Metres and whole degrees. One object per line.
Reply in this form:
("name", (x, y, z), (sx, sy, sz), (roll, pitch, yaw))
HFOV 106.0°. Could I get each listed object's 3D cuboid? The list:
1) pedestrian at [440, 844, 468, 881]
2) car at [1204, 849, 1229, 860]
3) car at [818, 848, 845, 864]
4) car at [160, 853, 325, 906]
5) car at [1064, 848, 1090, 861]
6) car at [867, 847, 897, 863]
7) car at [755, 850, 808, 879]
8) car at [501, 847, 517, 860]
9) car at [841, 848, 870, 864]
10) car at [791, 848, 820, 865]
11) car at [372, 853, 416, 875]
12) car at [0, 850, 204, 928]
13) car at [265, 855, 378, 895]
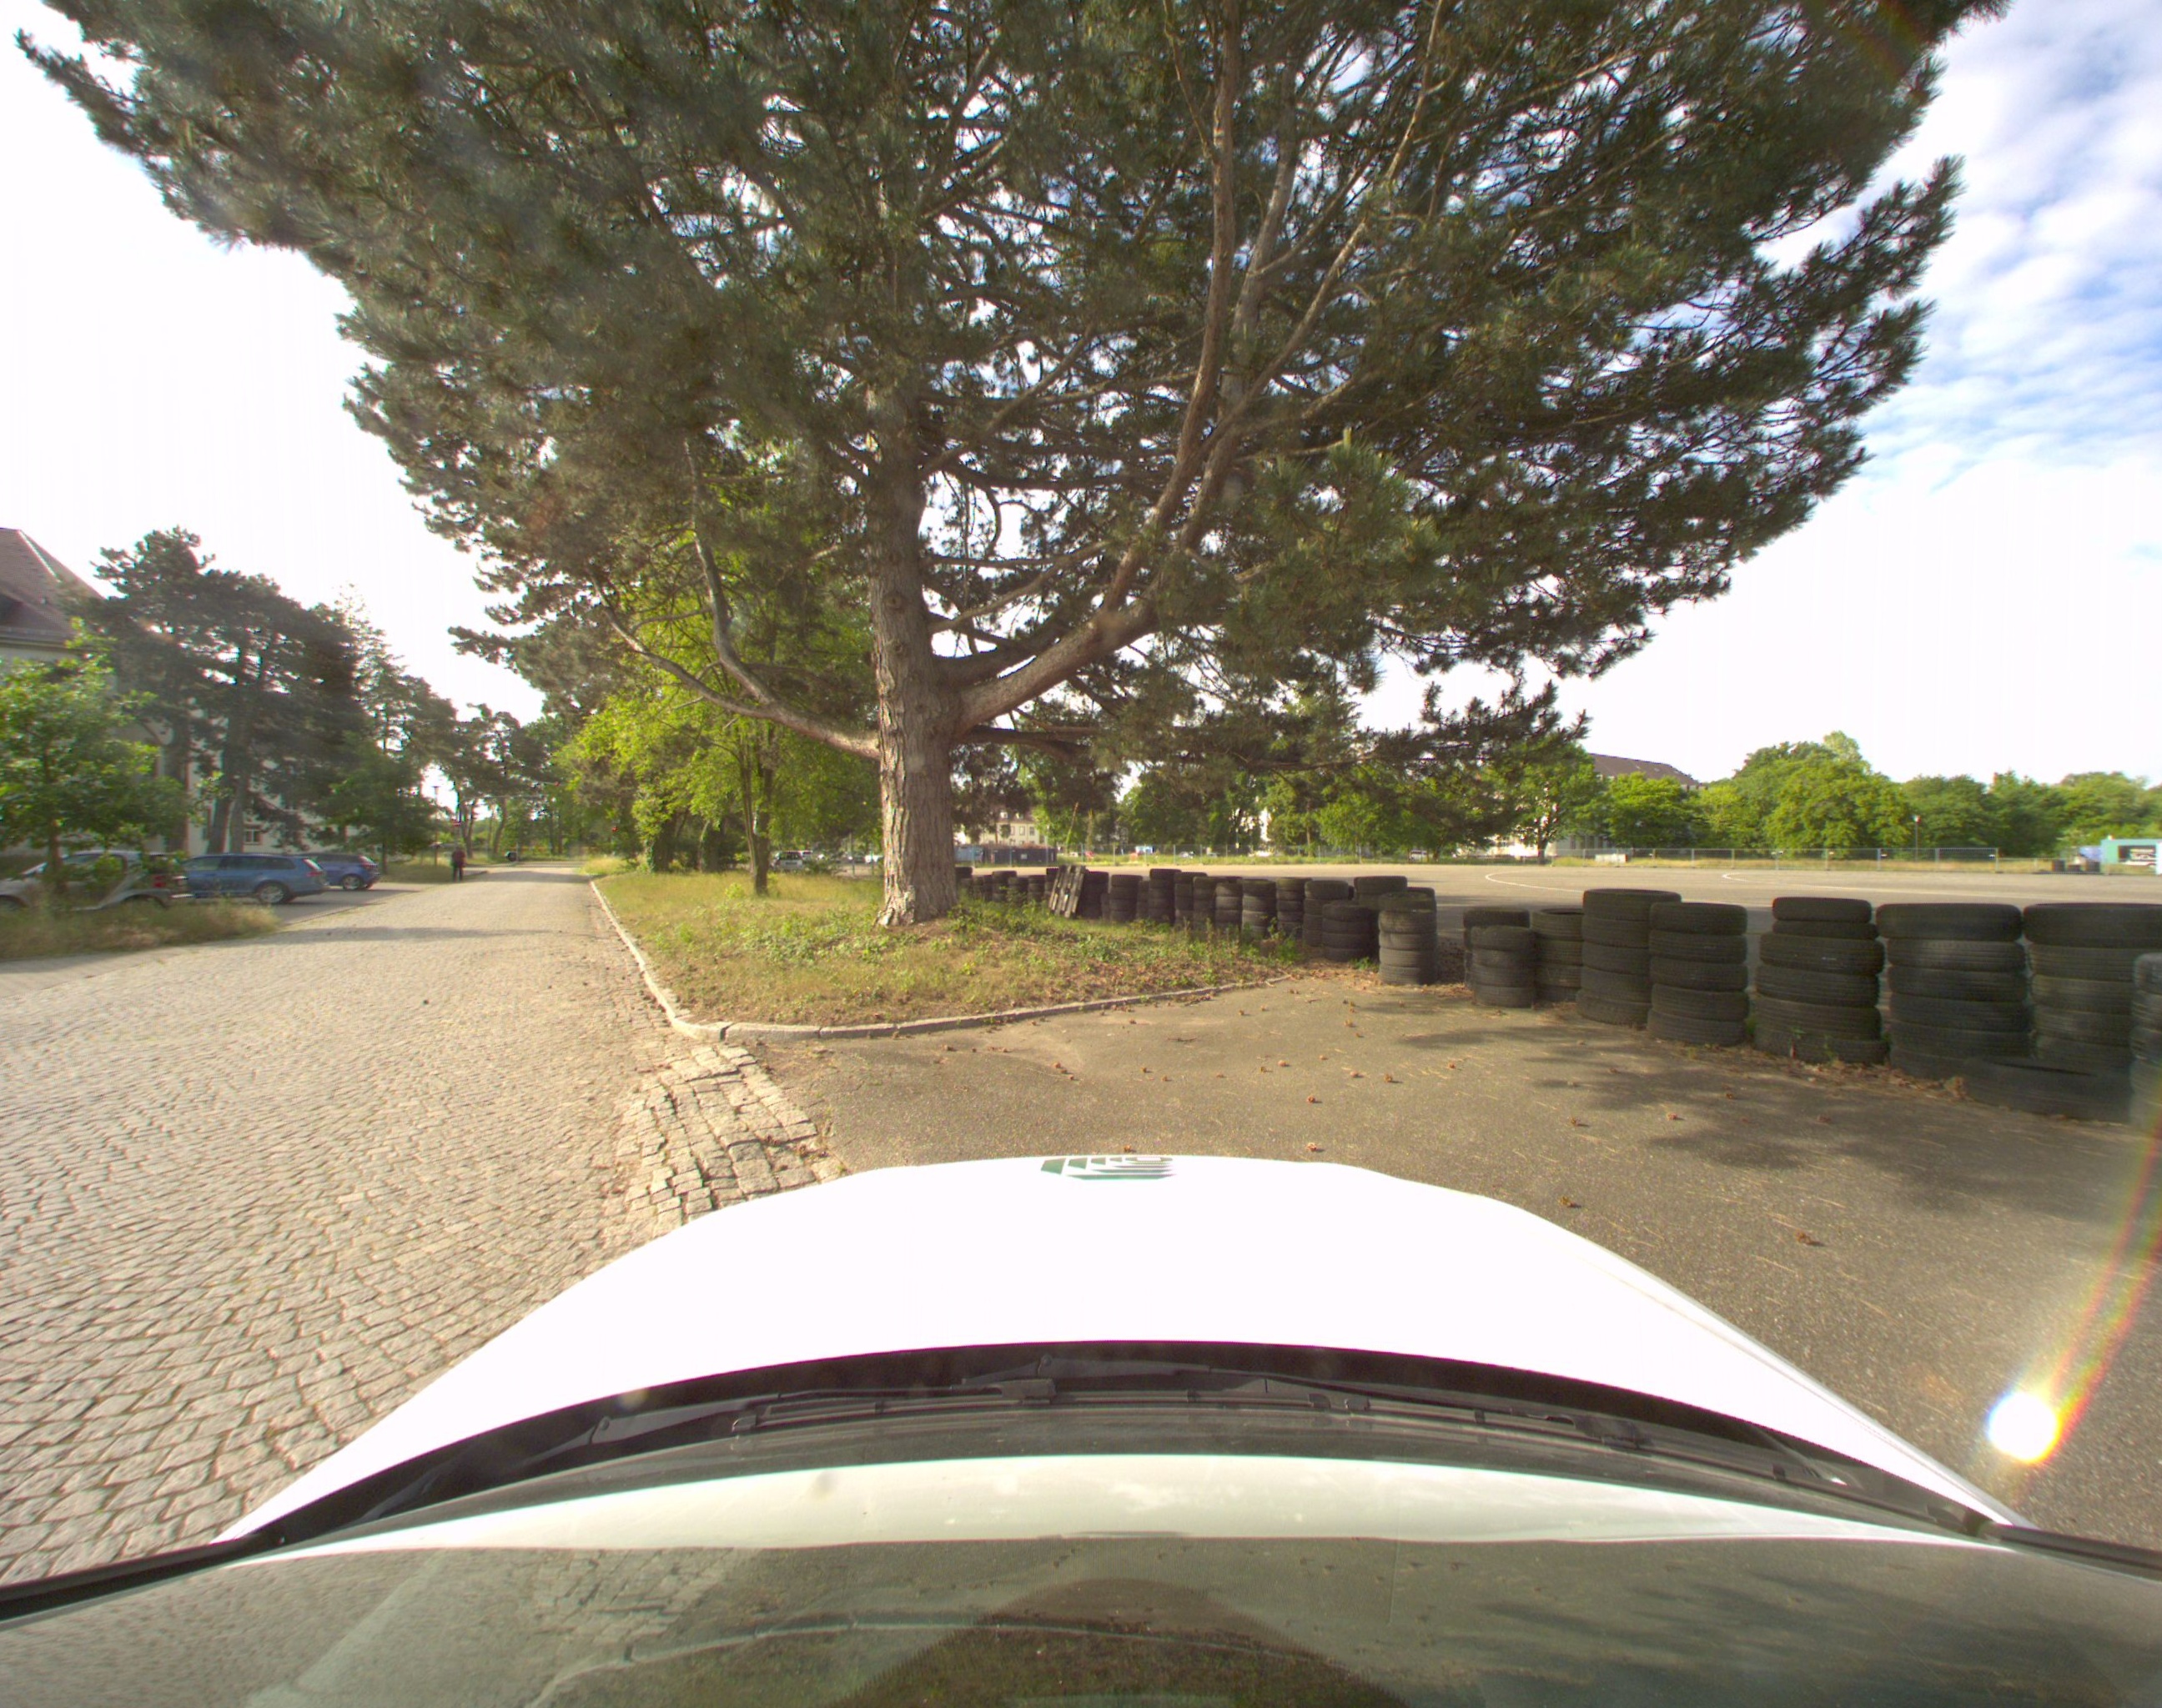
("pedestrian", (-31.784, 0.415, 41.290), (0.944, 1.844, 0.965), (0, 0, 44))
("car", (21.148, 0.095, 127.234), (2.002, 1.750, 3.970), (0, 0, -22))
("car", (-25.746, 0.197, 84.069), (1.832, 1.618, 3.962), (0, 0, -30))
("car", (-24.272, 0.751, 23.730), (3.107, 1.457, 1.475), (3, -2, -37))
("car", (-0.584, 0.103, 113.657), (2.004, 1.750, 3.965), (0, 0, -27))
("car", (-21.418, 0.105, 87.530), (2.007, 1.618, 3.960), (0, 0, -32))
("car", (-16.769, 0.564, 45.498), (1.900, 1.541, 3.958), (0, 0, -34))
("car", (-84.826, -0.091, 120.830), (1.709, 2.013, 3.960), (0, 0, -32))
("car", (-23.748, 0.182, 85.683), (2.007, 1.618, 3.960), (0, 0, -32))
("car", (-27.900, 0.231, 82.390), (2.007, 1.618, 3.960), (0, 0, -32))
("car", (-52.636, 0.719, 62.477), (2.007, 1.618, 3.960), (0, 0, -32))
("car", (-20.904, 0.696, 17.288), (2.776, 1.549, 1.412), (0, 0, -29))
("car", (-29.347, 0.767, 31.583), (3.109, 1.450, 1.475), (0, 0, -38))
